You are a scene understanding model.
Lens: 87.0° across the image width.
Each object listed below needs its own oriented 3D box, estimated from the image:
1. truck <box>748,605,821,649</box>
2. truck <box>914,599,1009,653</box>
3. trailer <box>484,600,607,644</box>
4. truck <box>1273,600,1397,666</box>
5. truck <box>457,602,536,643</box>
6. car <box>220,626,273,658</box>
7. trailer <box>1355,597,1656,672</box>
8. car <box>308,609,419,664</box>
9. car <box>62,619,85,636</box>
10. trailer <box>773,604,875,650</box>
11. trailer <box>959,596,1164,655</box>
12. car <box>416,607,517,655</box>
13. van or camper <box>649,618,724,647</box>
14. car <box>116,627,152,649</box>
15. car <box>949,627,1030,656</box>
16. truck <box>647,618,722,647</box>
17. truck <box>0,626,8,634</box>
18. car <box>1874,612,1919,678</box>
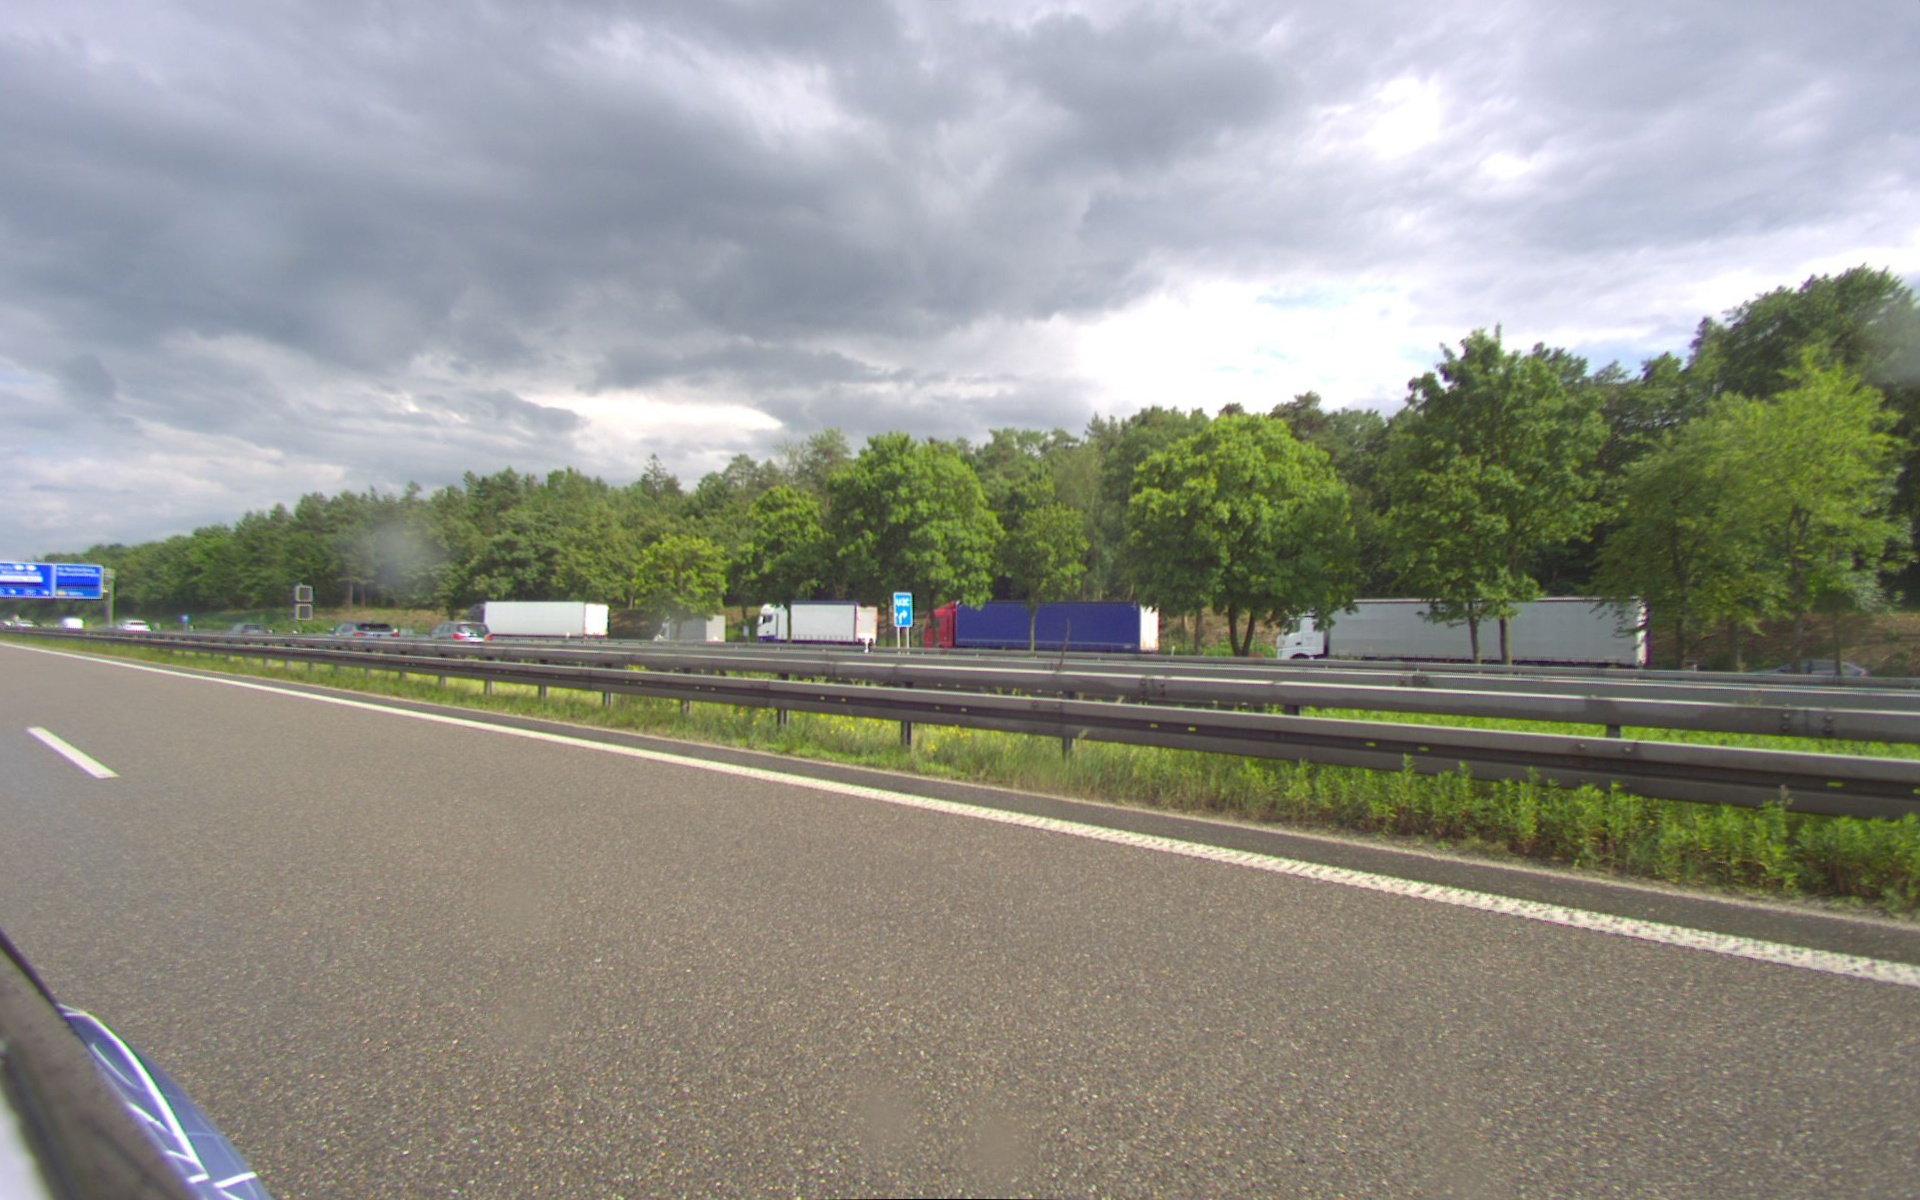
[{"bbox_3d":[-13.414,2.028,77.336,5.070,3.292,2.634,-1,0,32],"label":"truck"},{"bbox_3d":[0.076,1.718,68.553,5.884,3.482,2.835,-1,0,35],"label":"truck"},{"bbox_3d":[-37.414,2.009,91.126,12.514,3.767,3.183,-1,-2,29],"label":"trailer"},{"bbox_3d":[20.070,1.682,54.211,5.501,3.298,3.320,-1,0,39],"label":"truck"},{"bbox_3d":[-43.175,2.053,94.264,6.885,3.732,3.187,-1,0,28],"label":"truck"},{"bbox_3d":[-46.293,2.697,65.645,4.778,1.905,1.810,-1,0,42],"label":"car"},{"bbox_3d":[26.043,1.626,49.111,12.466,3.241,3.313,-1,-2,41],"label":"trailer"},{"bbox_3d":[-22.349,1.298,37.854,4.778,1.905,2.276,-1,0,42],"label":"car"},{"bbox_3d":[-118.481,3.667,135.176,4.778,2.060,1.810,-1,0,42],"label":"car"},{"bbox_3d":[-10.182,1.981,75.339,7.718,3.257,2.559,-1,-1,33],"label":"trailer"},{"bbox_3d":[6.151,1.609,64.142,13.397,3.431,2.798,-1,-2,36],"label":"trailer"},{"bbox_3d":[-21.043,1.279,43.082,4.778,1.905,2.276,-1,0,42],"label":"car"},{"bbox_3d":[-22.538,2.632,83.302,6.297,2.282,2.104,-1,-1,30],"label":"van or camper"},{"bbox_3d":[-74.721,3.413,91.543,4.778,1.905,1.810,-1,0,42],"label":"car"},{"bbox_3d":[2.194,3.129,77.602,6.117,2.029,1.977,-1,0,34],"label":"car"},{"bbox_3d":[-22.702,2.634,83.351,6.292,2.282,2.104,-1,-1,30],"label":"truck"},{"bbox_3d":[-158.473,4.909,166.795,3.999,1.203,1.868,-1,0,42],"label":"truck"},{"bbox_3d":[39.000,1.712,38.502,6.211,2.501,2.762,-1,0,43],"label":"car"}]
